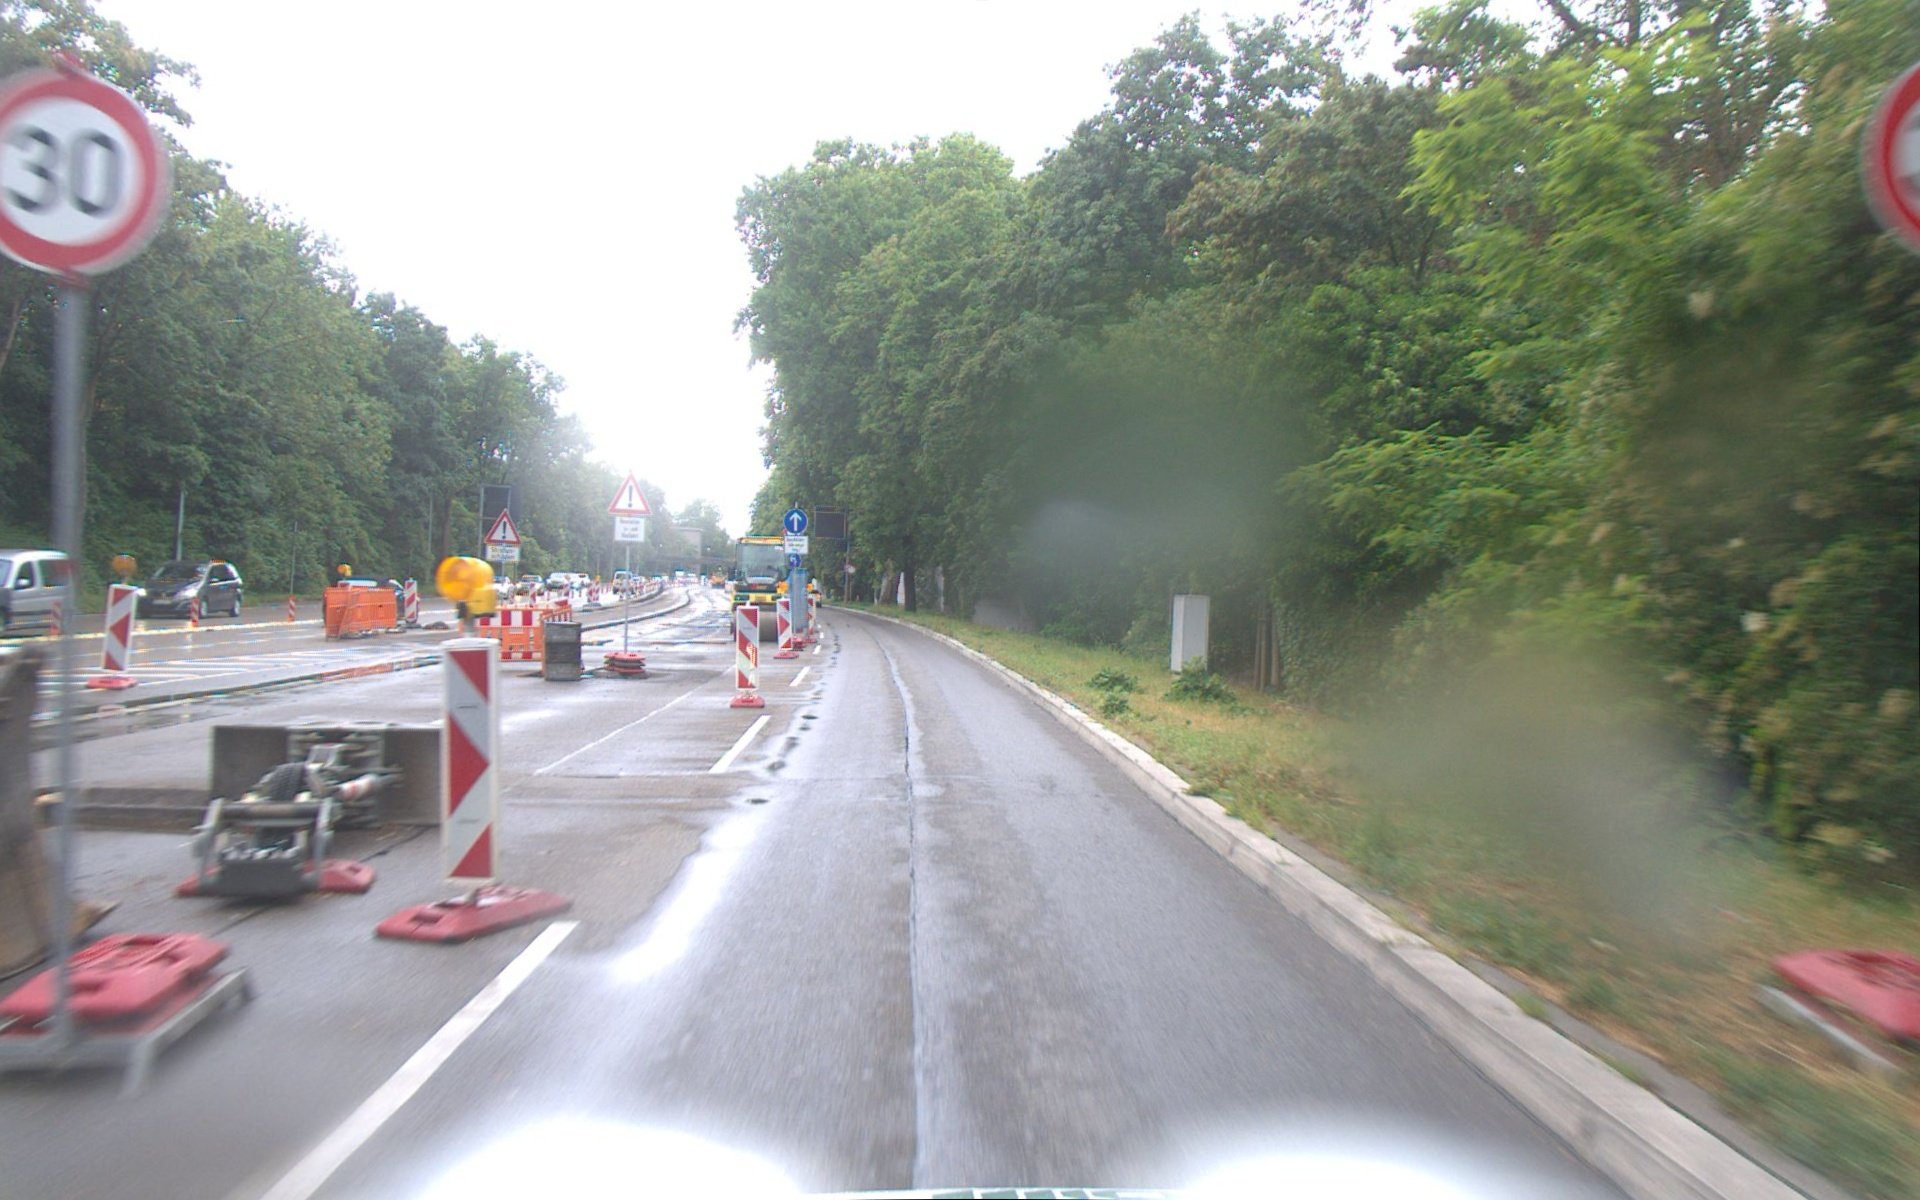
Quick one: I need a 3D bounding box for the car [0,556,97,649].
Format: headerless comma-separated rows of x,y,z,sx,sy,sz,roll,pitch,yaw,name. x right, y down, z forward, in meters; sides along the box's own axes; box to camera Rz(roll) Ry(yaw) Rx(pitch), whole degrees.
-18.531,0.032,32.248,1.399,1.725,4.127,1,0,-3,car

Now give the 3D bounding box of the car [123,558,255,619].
-23.102,-0.346,49.774,1.888,1.694,4.651,1,0,-2,car

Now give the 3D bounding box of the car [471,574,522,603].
-28.250,-0.706,100.958,1.888,1.694,4.651,1,0,-2,car

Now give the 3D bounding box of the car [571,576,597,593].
-37.471,-1.556,164.852,1.890,1.694,4.646,1,0,-6,car

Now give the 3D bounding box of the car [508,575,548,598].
-32.242,-1.003,123.637,1.888,1.694,4.651,1,0,-2,car

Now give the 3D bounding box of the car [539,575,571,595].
-36.890,-1.348,150.654,1.888,1.694,4.651,1,0,-2,car

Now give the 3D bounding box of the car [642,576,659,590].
-37.089,-1.986,198.155,1.540,1.482,3.366,4,1,-16,car

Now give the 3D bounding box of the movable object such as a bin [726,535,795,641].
-5.723,-0.345,47.812,1.712,2.917,3.532,1,0,-4,movable object such as a bin

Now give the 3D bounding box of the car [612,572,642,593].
-30.685,-1.593,152.607,1.888,1.809,4.651,1,0,-2,car

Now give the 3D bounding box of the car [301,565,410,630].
-16.957,-0.106,46.586,1.826,1.517,3.998,3,3,-5,car

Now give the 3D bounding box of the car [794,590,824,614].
-11.518,0.120,126.417,1.875,1.625,4.832,2,1,-2,car
